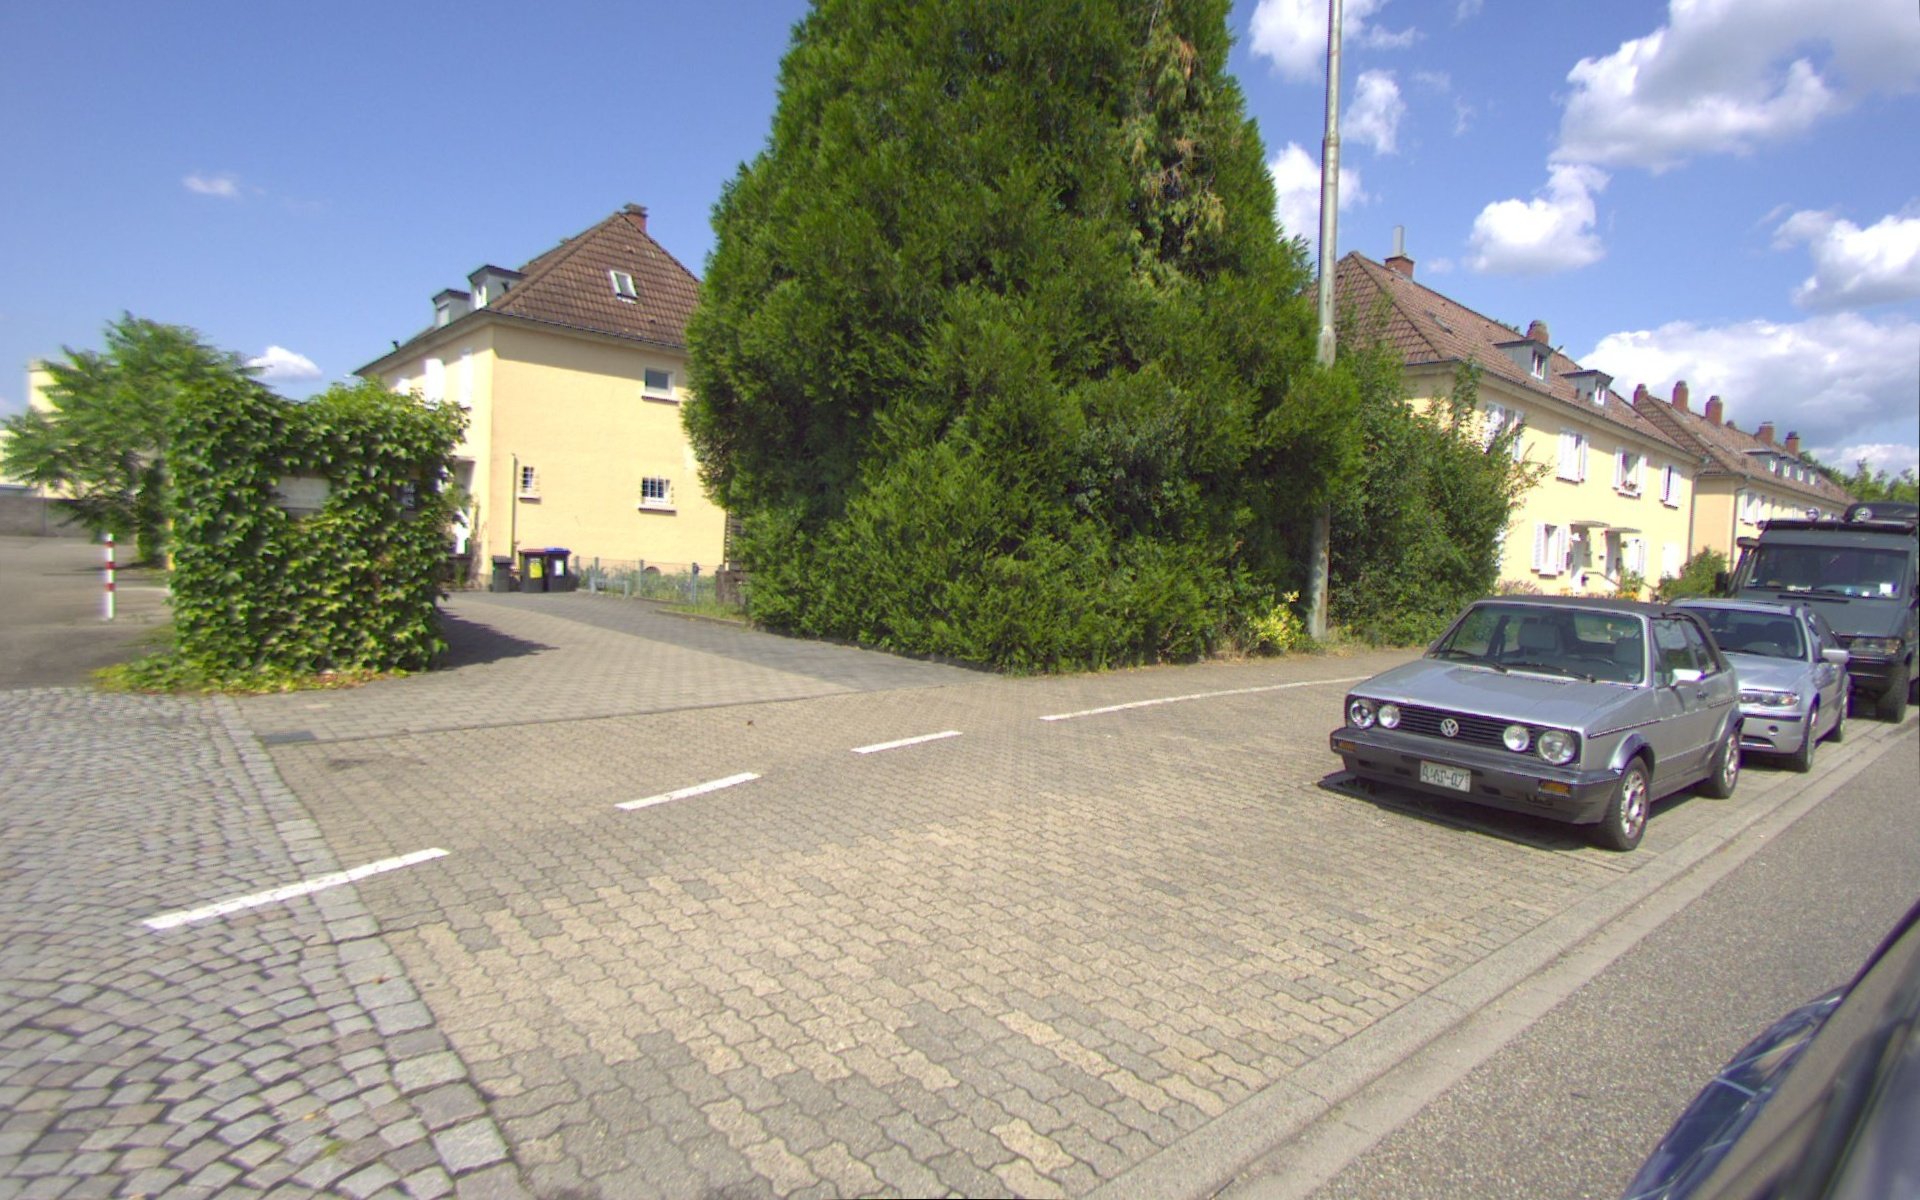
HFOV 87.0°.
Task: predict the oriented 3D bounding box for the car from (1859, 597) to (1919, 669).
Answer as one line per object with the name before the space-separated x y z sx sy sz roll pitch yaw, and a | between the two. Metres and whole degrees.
car | 20.051 0.667 20.887 4.058 1.310 1.725 0 4 -42

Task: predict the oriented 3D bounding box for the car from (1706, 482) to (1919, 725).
car | 12.263 -0.031 13.978 4.793 2.793 2.000 0 4 -41

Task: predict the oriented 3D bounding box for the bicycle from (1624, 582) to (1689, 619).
bicycle | 22.856 -0.006 33.225 0.285 1.116 1.693 1 2 -41

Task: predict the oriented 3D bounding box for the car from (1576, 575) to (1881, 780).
car | 7.776 0.576 10.080 4.284 1.534 1.694 -1 4 -44

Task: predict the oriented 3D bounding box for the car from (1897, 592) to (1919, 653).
car | 24.879 0.589 25.266 3.955 1.435 1.654 0 4 -41

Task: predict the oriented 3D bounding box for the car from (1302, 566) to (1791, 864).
car | 4.263 0.555 7.089 4.024 1.448 1.656 0 4 -40

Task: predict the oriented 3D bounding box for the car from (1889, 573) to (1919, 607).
car | 52.195 -0.492 54.938 3.973 1.767 1.928 1 3 -38

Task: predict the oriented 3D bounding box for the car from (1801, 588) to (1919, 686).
car | 16.195 0.575 17.514 4.753 1.418 1.725 0 4 -41
